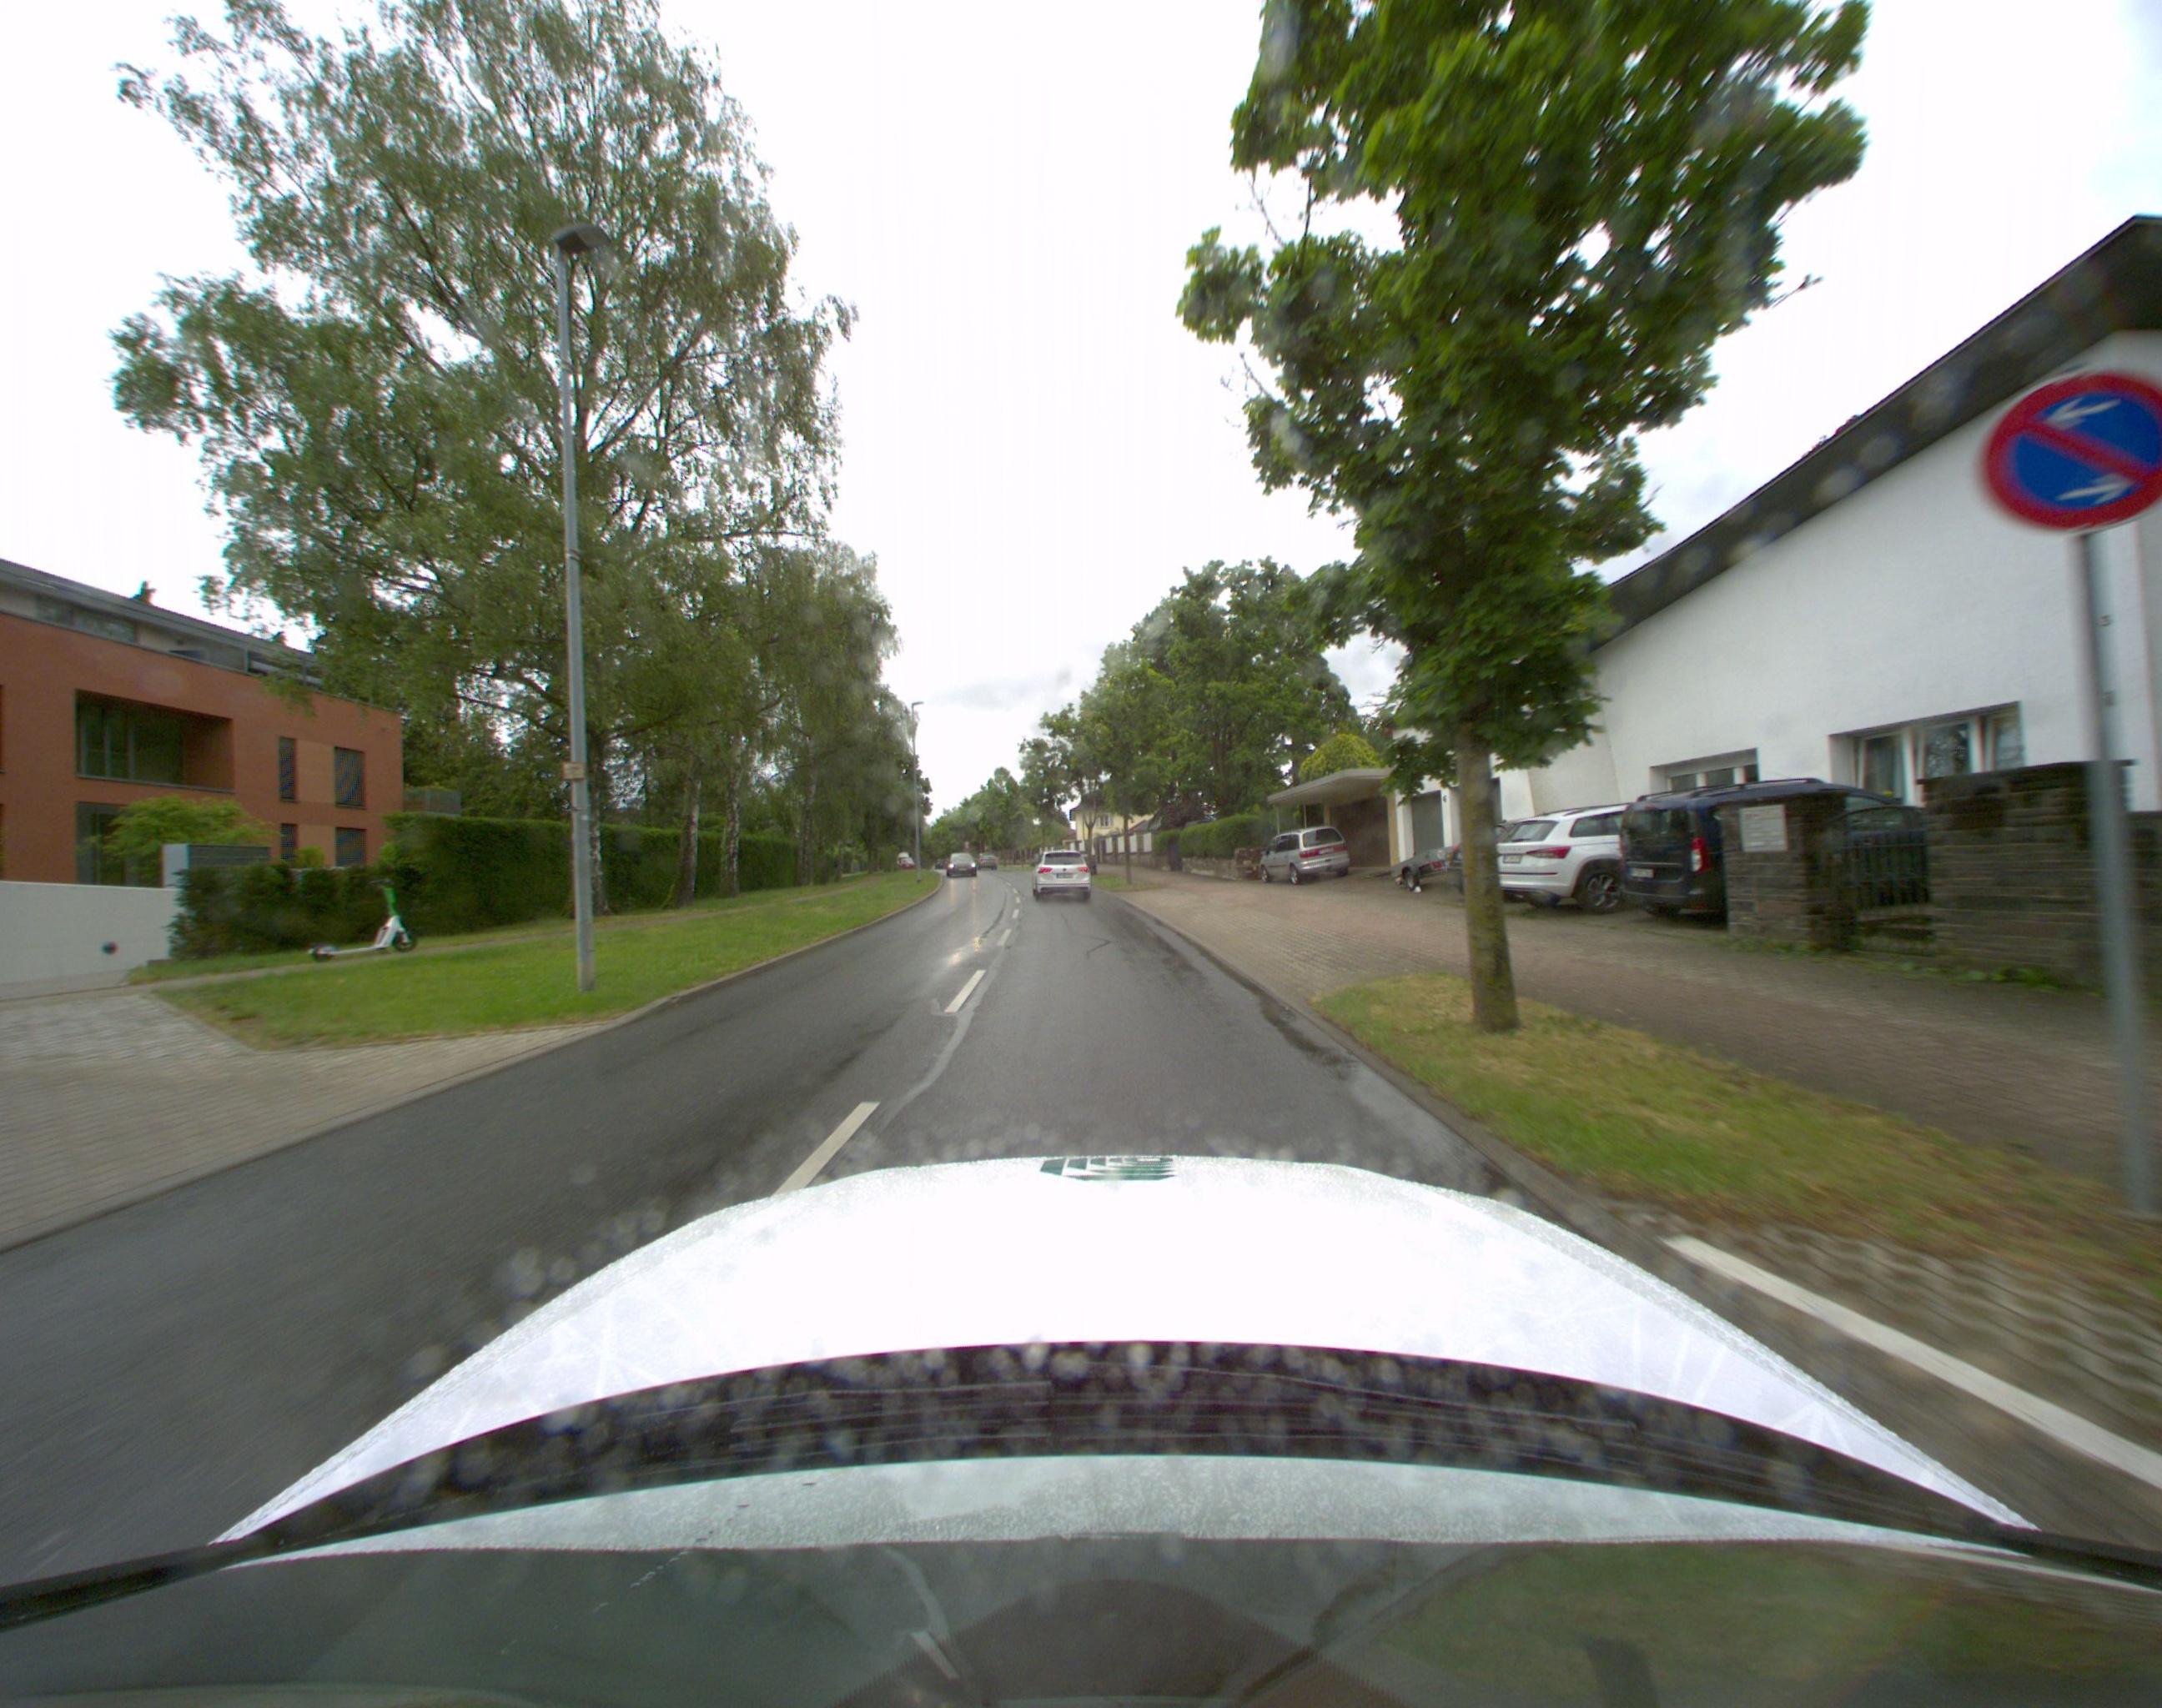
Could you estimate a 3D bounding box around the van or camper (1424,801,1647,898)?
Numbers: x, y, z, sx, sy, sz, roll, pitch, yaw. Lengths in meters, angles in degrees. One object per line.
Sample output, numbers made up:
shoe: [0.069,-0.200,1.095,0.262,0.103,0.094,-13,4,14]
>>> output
van or camper: [8.930,-0.091,16.163,3.399,1.555,1.765,-5,0,-7]

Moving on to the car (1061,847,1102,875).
car: [-0.031,0.372,46.221,1.642,1.377,3.816,-4,1,-10]

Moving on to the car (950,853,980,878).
car: [-7.334,0.684,51.527,1.754,1.441,4.145,-1,1,-8]

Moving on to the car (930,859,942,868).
car: [-23.501,1.533,131.989,1.853,1.418,4.209,-1,1,-12]

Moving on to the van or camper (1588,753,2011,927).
van or camper: [9.667,-0.178,11.245,4.000,1.788,1.947,-6,0,0]

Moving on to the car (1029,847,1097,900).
car: [-0.701,0.616,28.064,1.995,1.632,3.991,-1,0,-7]

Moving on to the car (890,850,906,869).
car: [-26.127,0.758,116.055,1.997,2.561,5.207,-2,-1,-14]

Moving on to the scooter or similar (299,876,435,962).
scooter or similar: [-10.706,0.936,12.268,0.420,1.158,1.498,0,1,22]

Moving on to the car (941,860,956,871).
car: [-18.048,1.520,111.022,1.853,1.418,4.209,-1,1,-12]

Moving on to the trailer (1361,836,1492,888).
trailer: [8.325,0.205,19.890,1.419,0.921,3.267,-10,0,-7]

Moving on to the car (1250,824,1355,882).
car: [7.469,-0.027,28.023,1.792,1.757,4.933,-2,0,-6]

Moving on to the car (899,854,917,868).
car: [-20.426,0.825,95.869,1.846,1.466,4.228,-2,-1,-14]

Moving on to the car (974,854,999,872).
car: [-8.351,0.777,71.635,1.842,1.487,3.984,-1,1,-12]

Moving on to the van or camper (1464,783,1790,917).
van or camper: [8.999,-0.070,13.710,3.977,1.677,2.121,-6,0,-2]
